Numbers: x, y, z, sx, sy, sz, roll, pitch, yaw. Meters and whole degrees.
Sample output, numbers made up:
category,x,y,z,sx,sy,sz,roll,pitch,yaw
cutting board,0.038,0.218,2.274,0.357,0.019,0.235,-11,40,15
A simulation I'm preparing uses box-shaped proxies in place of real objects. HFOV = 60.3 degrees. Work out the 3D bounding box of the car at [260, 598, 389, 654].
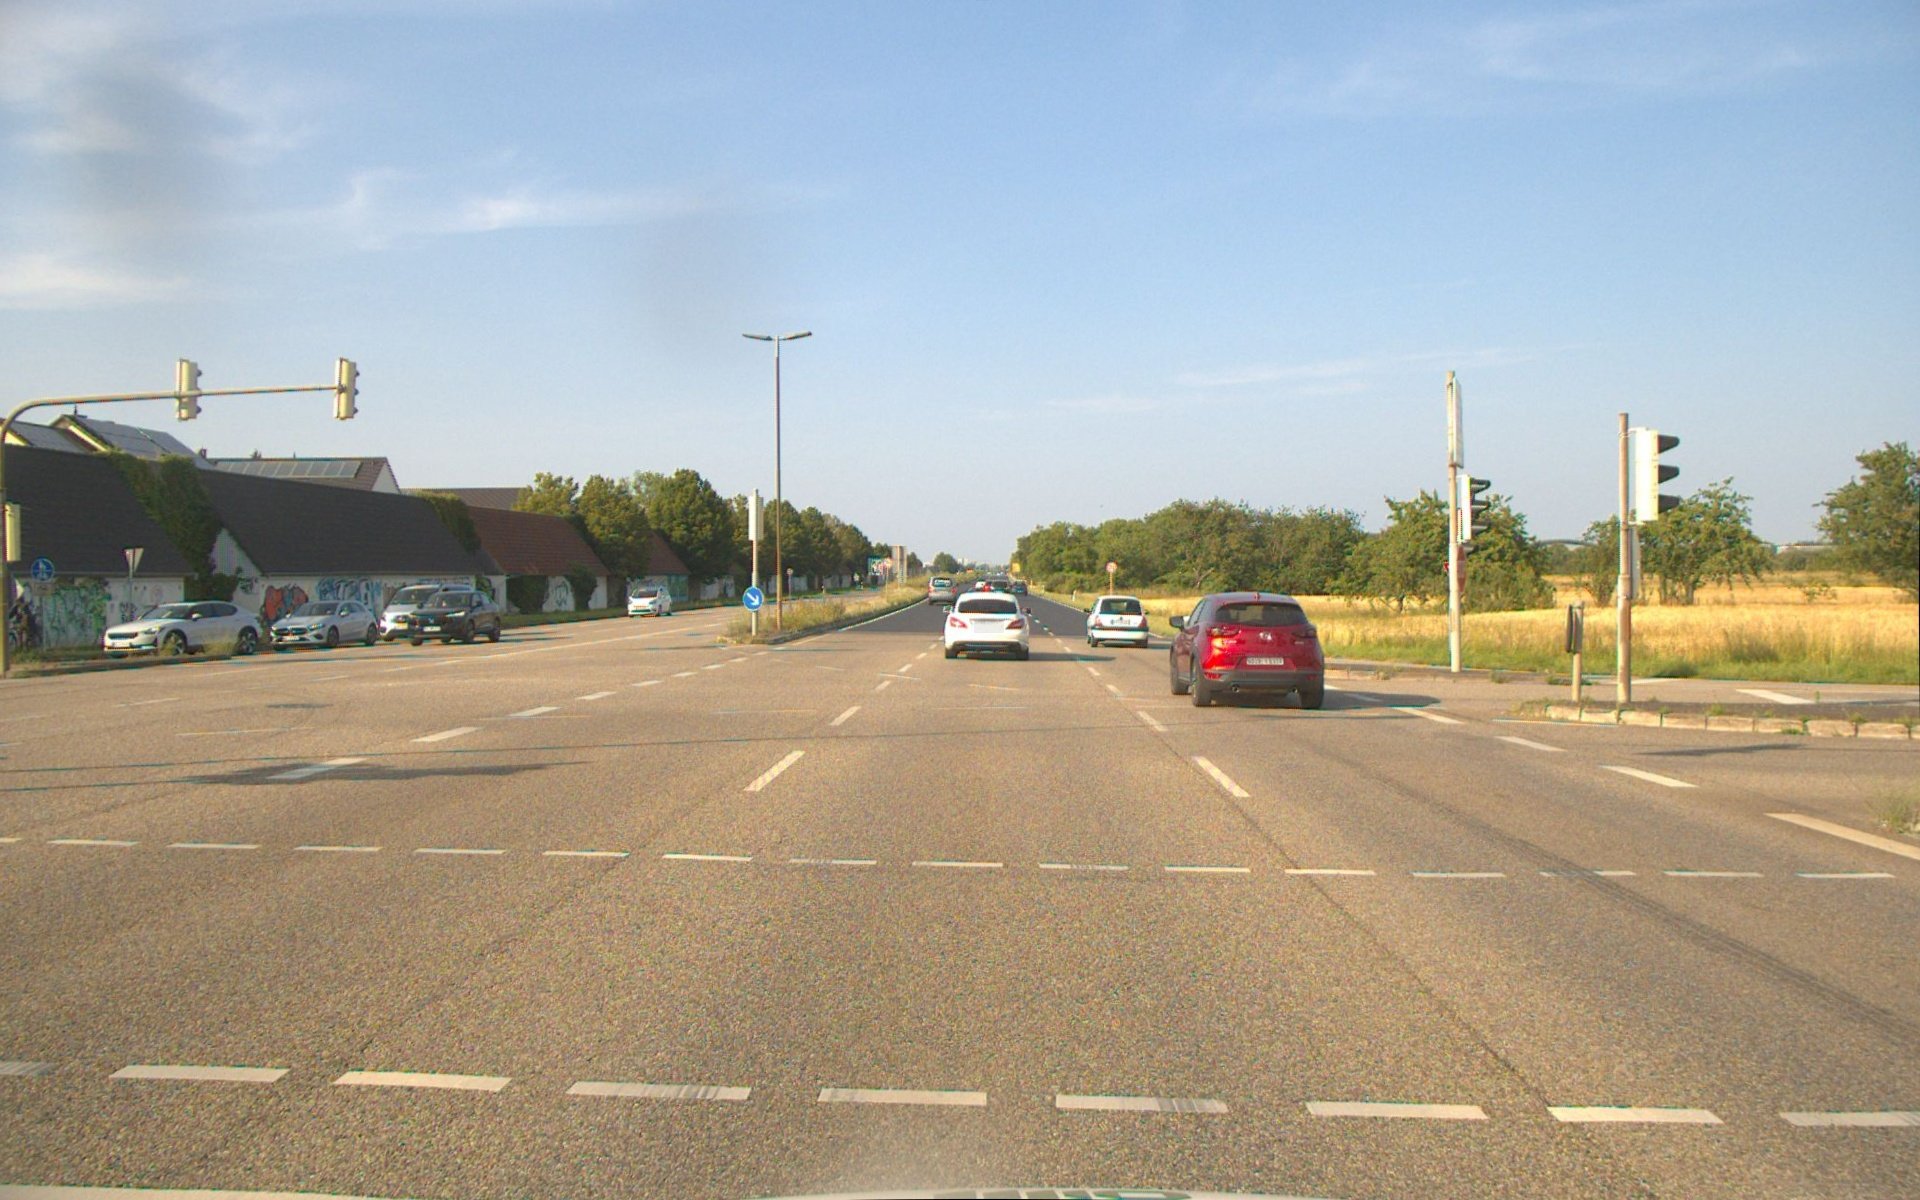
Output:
category,x,y,z,sx,sy,sz,roll,pitch,yaw
car,-19.268,0.756,50.365,1.666,1.523,4.541,-4,-1,7

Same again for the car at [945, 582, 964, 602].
category,x,y,z,sx,sy,sz,roll,pitch,yaw
car,-0.537,-0.838,174.346,1.801,2.049,4.001,1,0,2

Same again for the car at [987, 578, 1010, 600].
category,x,y,z,sx,sy,sz,roll,pitch,yaw
car,3.155,-0.863,136.490,1.790,1.758,4.000,1,0,1

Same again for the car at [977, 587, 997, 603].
category,x,y,z,sx,sy,sz,roll,pitch,yaw
car,2.574,-0.472,157.973,1.775,1.461,3.858,1,0,0

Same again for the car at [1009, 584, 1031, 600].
category,x,y,z,sx,sy,sz,roll,pitch,yaw
car,6.157,-0.789,169.160,1.953,1.612,4.283,1,0,-2

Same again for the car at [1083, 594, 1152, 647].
category,x,y,z,sx,sy,sz,roll,pitch,yaw
car,4.369,0.548,46.396,1.584,1.411,3.952,1,0,1

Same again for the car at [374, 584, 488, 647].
category,x,y,z,sx,sy,sz,roll,pitch,yaw
car,-18.267,0.516,57.409,1.867,1.961,5.456,-3,0,3

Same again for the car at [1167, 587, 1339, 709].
category,x,y,z,sx,sy,sz,roll,pitch,yaw
car,4.024,0.613,23.397,1.669,1.532,4.501,1,0,1

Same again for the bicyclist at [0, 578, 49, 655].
category,x,y,z,sx,sy,sz,roll,pitch,yaw
bicyclist,-25.636,0.447,45.261,0.754,2.049,1.062,1,0,1

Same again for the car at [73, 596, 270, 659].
category,x,y,z,sx,sy,sz,roll,pitch,yaw
car,-20.592,0.678,43.428,1.908,1.524,4.763,1,0,18

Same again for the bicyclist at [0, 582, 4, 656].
category,x,y,z,sx,sy,sz,roll,pitch,yaw
bicyclist,-26.801,0.512,45.142,0.754,2.049,1.062,1,0,1

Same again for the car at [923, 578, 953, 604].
category,x,y,z,sx,sy,sz,roll,pitch,yaw
car,-1.426,-0.598,109.734,1.722,1.646,4.001,1,0,3

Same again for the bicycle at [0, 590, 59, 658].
category,x,y,z,sx,sy,sz,roll,pitch,yaw
bicycle,-25.671,0.624,45.076,0.738,1.780,2.607,1,0,1

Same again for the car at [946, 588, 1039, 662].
category,x,y,z,sx,sy,sz,roll,pitch,yaw
car,0.728,0.527,37.028,1.952,1.543,4.001,1,0,1

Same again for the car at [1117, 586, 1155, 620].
category,x,y,z,sx,sy,sz,roll,pitch,yaw
car,8.655,0.155,81.539,1.619,1.597,3.681,1,0,3

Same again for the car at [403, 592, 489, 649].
category,x,y,z,sx,sy,sz,roll,pitch,yaw
car,-15.307,0.594,49.481,1.699,1.568,4.239,-2,0,-8

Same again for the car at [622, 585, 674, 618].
category,x,y,z,sx,sy,sz,roll,pitch,yaw
car,-17.530,0.094,93.086,1.799,1.736,4.758,-3,0,2

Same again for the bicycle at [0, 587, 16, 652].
category,x,y,z,sx,sy,sz,roll,pitch,yaw
bicycle,-26.817,0.533,44.964,0.738,1.780,2.607,1,0,1

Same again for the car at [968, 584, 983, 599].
category,x,y,z,sx,sy,sz,roll,pitch,yaw
car,1.872,-1.031,200.320,1.759,1.680,3.539,1,0,-2
